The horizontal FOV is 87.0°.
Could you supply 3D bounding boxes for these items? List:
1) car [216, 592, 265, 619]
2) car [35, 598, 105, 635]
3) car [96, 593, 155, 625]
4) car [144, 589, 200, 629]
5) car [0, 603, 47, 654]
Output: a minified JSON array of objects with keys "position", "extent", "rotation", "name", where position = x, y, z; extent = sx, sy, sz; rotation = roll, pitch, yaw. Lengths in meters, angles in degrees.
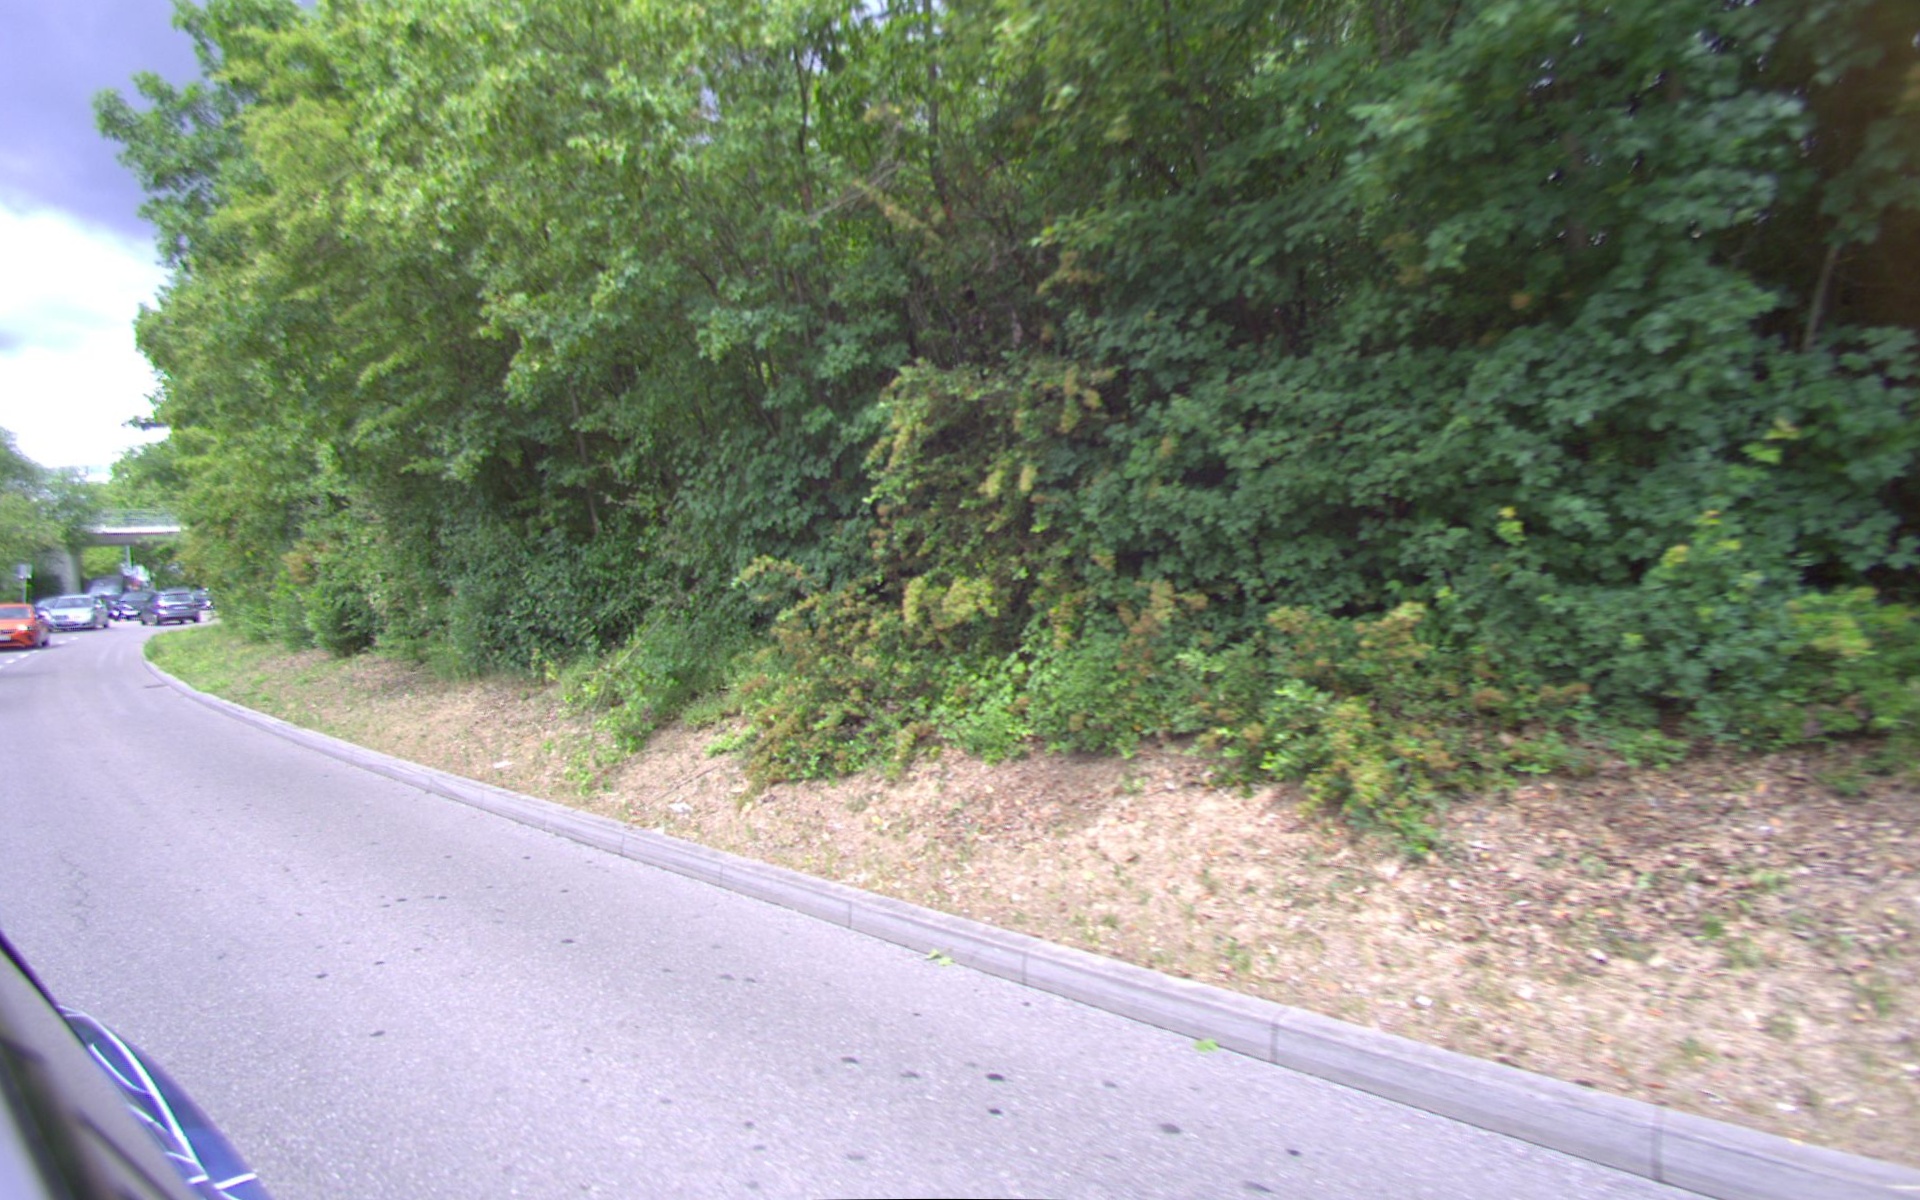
[{"position":[-42.383,0.307,59.722],"extent":[1.783,1.415,4.061],"rotation":[-3,3,-28],"name":"car"},{"position":[-39.947,0.696,45.520],"extent":[1.752,1.462,4.011],"rotation":[-3,3,-33],"name":"car"},{"position":[-46.862,0.453,56.929],"extent":[1.751,1.430,4.014],"rotation":[-1,5,-28],"name":"car"},{"position":[-38.223,0.420,49.033],"extent":[1.732,1.673,4.125],"rotation":[-8,5,-41],"name":"car"},{"position":[-30.273,0.894,31.927],"extent":[4.001,1.453,1.837],"rotation":[0,3,44],"name":"car"}]
